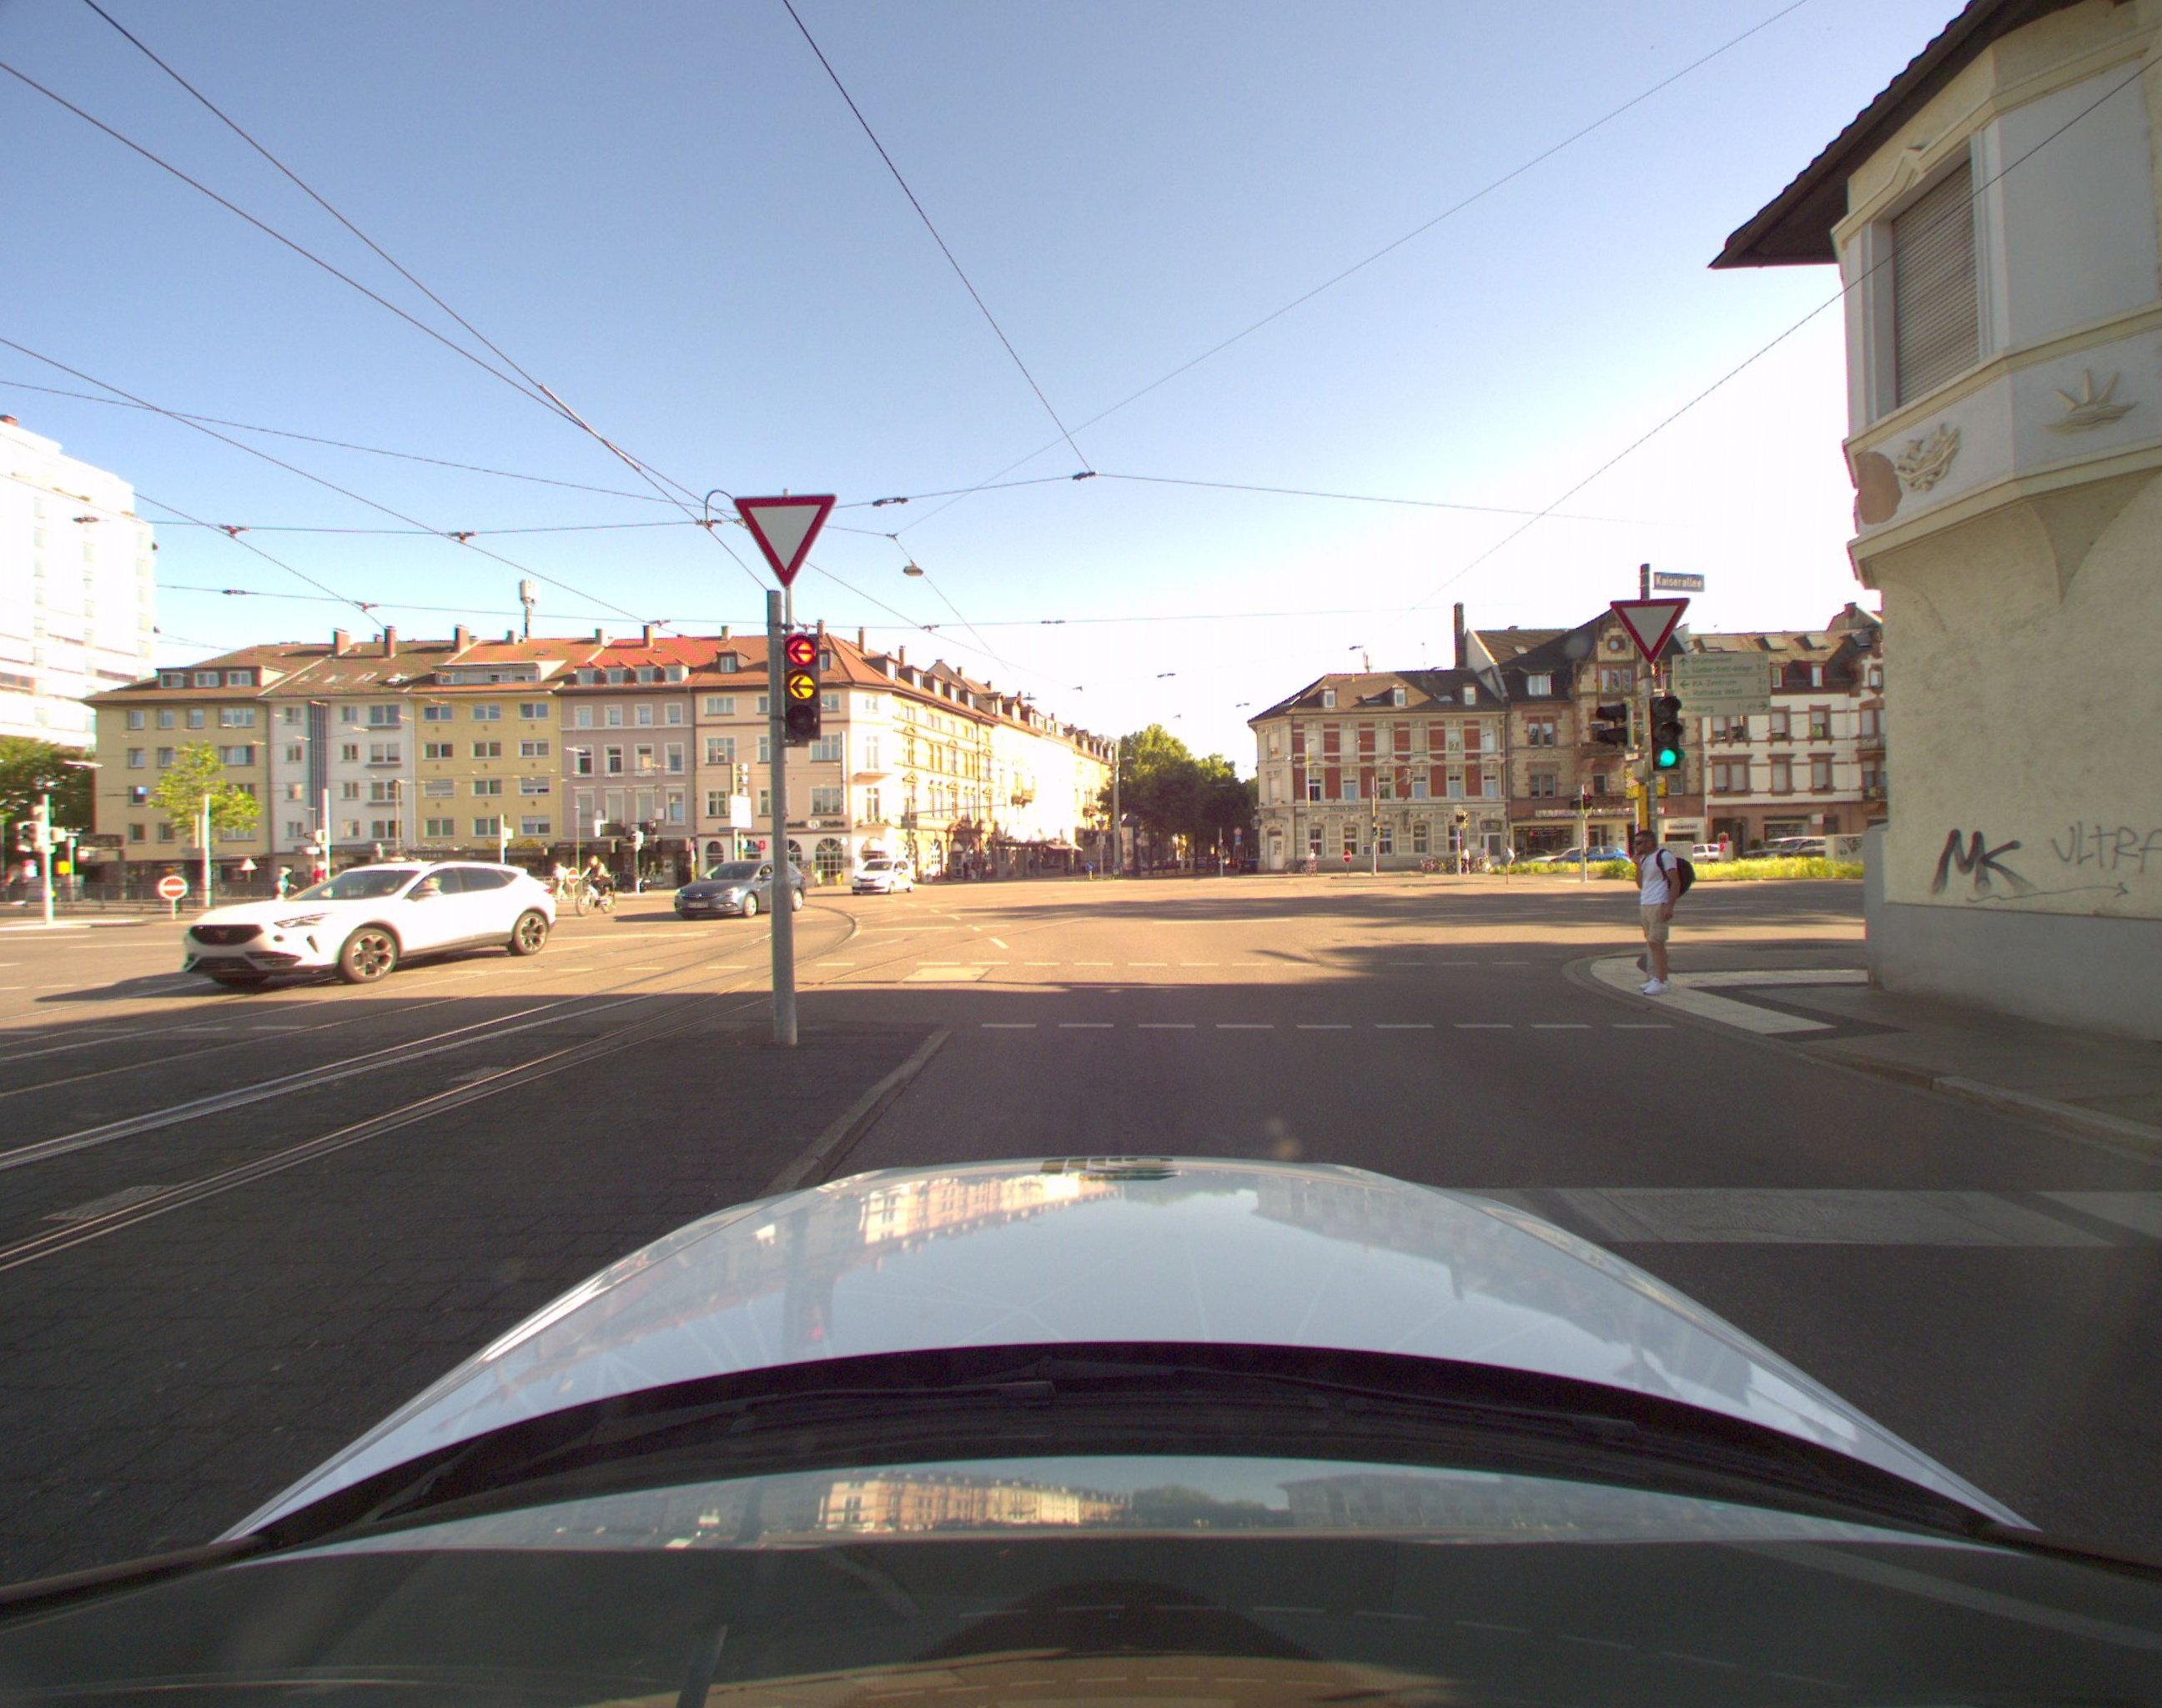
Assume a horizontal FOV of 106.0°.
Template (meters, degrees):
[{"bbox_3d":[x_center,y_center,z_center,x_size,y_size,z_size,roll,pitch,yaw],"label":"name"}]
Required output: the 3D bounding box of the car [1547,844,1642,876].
[{"bbox_3d":[28.325,0.330,45.033,3.973,1.668,1.955,-2,0,1],"label":"car"}]

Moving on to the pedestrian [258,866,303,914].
[{"bbox_3d":[-28.445,1.271,28.949,0.855,1.631,0.812,-2,-1,19],"label":"pedestrian"}]

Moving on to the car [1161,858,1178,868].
[{"bbox_3d":[14.337,1.472,131.618,1.978,1.497,4.051,-2,0,16],"label":"car"}]

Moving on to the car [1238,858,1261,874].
[{"bbox_3d":[17.021,1.148,82.170,1.978,1.497,4.051,-2,0,16],"label":"car"}]

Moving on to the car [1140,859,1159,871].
[{"bbox_3d":[9.909,1.588,117.307,1.978,1.497,4.051,-2,0,16],"label":"car"}]

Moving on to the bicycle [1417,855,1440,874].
[{"bbox_3d":[22.504,0.641,52.770,0.674,1.191,1.969,-1,0,3],"label":"bicycle"}]

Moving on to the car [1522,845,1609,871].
[{"bbox_3d":[28.517,0.253,48.026,3.973,1.412,1.846,-2,0,1],"label":"car"}]

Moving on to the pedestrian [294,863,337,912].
[{"bbox_3d":[-27.278,1.191,29.015,0.815,1.724,0.853,-2,-1,24],"label":"pedestrian"}]

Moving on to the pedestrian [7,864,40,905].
[{"bbox_3d":[-41.289,1.190,31.799,0.722,1.568,0.599,-2,-1,22],"label":"pedestrian"}]

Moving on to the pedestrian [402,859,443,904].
[{"bbox_3d":[-26.352,1.093,32.613,0.899,1.733,0.841,-1,0,2],"label":"pedestrian"}]

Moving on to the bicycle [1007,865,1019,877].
[{"bbox_3d":[-6.703,1.658,79.872,0.491,1.067,1.778,-2,0,18],"label":"bicycle"}]

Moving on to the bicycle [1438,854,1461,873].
[{"bbox_3d":[23.855,0.618,52.764,0.674,1.191,1.969,-1,0,3],"label":"bicycle"}]

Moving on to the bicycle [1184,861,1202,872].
[{"bbox_3d":[11.339,1.285,82.648,0.586,1.067,1.928,-1,0,-34],"label":"bicycle"}]

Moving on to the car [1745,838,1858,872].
[{"bbox_3d":[39.468,0.060,44.708,4.456,1.668,1.955,-2,0,1],"label":"car"}]

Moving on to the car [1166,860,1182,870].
[{"bbox_3d":[15.563,1.886,136.351,1.978,1.497,4.051,-2,0,16],"label":"car"}]

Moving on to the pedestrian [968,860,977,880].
[{"bbox_3d":[-9.171,1.356,68.811,0.546,1.642,0.540,-2,0,17],"label":"pedestrian"}]

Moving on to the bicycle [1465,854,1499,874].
[{"bbox_3d":[25.752,0.633,52.312,1.961,1.191,0.677,-1,0,-10],"label":"bicycle"}]

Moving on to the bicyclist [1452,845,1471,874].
[{"bbox_3d":[23.578,0.329,50.512,0.869,1.764,0.602,-2,0,4],"label":"bicyclist"}]

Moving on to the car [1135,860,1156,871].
[{"bbox_3d":[8.938,1.559,112.841,1.978,1.497,4.051,-2,0,16],"label":"car"}]

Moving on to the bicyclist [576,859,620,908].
[{"bbox_3d":[-13.629,0.817,22.981,0.600,1.340,0.900,-1,0,9],"label":"bicyclist"}]

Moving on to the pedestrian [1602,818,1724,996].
[{"bbox_3d":[6.102,0.538,8.559,0.691,1.740,0.668,-4,-1,-26],"label":"pedestrian"}]

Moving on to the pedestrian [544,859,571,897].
[{"bbox_3d":[-23.133,1.039,35.985,0.722,1.627,0.671,-1,0,0],"label":"pedestrian"}]

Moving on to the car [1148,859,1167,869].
[{"bbox_3d":[11.522,1.481,122.508,1.978,1.497,4.051,-2,0,16],"label":"car"}]

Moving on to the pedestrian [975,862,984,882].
[{"bbox_3d":[-8.563,1.523,68.706,0.546,1.642,0.635,-2,0,16],"label":"pedestrian"}]

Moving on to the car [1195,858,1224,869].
[{"bbox_3d":[20.206,1.449,128.013,3.949,1.545,2.012,-2,0,30],"label":"car"}]

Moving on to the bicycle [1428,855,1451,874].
[{"bbox_3d":[23.206,0.651,52.779,0.674,1.191,1.969,-1,0,3],"label":"bicycle"}]

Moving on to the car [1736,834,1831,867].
[{"bbox_3d":[45.242,-0.200,52.502,4.388,1.965,1.955,-2,0,1],"label":"car"}]

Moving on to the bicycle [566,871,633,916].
[{"bbox_3d":[-13.594,1.092,23.060,0.482,1.166,1.962,-1,0,8],"label":"bicycle"}]

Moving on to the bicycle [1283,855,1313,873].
[{"bbox_3d":[15.196,0.714,56.963,1.950,1.191,0.547,-2,0,6],"label":"bicycle"}]

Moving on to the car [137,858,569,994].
[{"bbox_3d":[-9.686,0.836,11.464,1.985,1.497,4.351,-2,0,3],"label":"car"}]

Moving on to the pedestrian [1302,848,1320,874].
[{"bbox_3d":[15.308,0.472,54.190,0.720,1.669,0.930,-1,0,-30],"label":"pedestrian"}]

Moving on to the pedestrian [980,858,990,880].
[{"bbox_3d":[-8.266,1.270,69.872,0.575,1.836,0.636,-2,0,18],"label":"pedestrian"}]

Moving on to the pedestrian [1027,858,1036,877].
[{"bbox_3d":[-4.975,1.319,82.076,0.676,1.908,0.636,-2,0,18],"label":"pedestrian"}]

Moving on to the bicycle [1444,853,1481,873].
[{"bbox_3d":[23.648,0.578,50.511,1.952,1.191,0.602,-2,0,4],"label":"bicycle"}]

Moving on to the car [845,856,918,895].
[{"bbox_3d":[-8.274,0.866,34.074,1.708,1.497,3.591,-2,0,8],"label":"car"}]

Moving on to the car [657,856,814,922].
[{"bbox_3d":[-8.903,0.845,21.489,1.765,1.497,4.581,-2,0,6],"label":"car"}]

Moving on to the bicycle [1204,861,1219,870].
[{"bbox_3d":[15.878,1.359,99.042,0.586,1.067,1.928,-1,0,-34],"label":"bicycle"}]

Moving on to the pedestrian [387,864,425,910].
[{"bbox_3d":[-26.344,1.279,31.797,0.818,1.733,0.789,-1,0,2],"label":"pedestrian"}]

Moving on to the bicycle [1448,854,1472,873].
[{"bbox_3d":[24.528,0.608,52.740,0.674,1.191,1.969,-1,0,3],"label":"bicycle"}]

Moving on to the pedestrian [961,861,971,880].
[{"bbox_3d":[-9.738,1.397,68.923,0.622,1.642,0.540,-2,0,17],"label":"pedestrian"}]

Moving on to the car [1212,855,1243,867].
[{"bbox_3d":[20.900,1.010,116.216,3.948,1.545,2.013,-2,0,32],"label":"car"}]

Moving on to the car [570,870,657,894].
[{"bbox_3d":[-30.694,1.840,53.532,4.626,1.440,1.743,-1,-1,-1],"label":"car"}]

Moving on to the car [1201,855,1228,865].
[{"bbox_3d":[21.943,0.922,134.092,3.949,1.545,2.012,-2,0,30],"label":"car"}]

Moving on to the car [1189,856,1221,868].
[{"bbox_3d":[17.531,1.178,115.431,3.949,1.545,2.012,-2,0,30],"label":"car"}]

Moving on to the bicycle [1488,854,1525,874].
[{"bbox_3d":[26.590,0.609,50.897,1.948,1.191,0.603,-2,0,11],"label":"bicycle"}]

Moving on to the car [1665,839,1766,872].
[{"bbox_3d":[34.813,0.083,44.768,3.973,1.668,1.955,-2,0,1],"label":"car"}]

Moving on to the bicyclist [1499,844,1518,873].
[{"bbox_3d":[26.705,0.259,50.865,0.897,1.764,0.603,-2,0,12],"label":"bicyclist"}]
